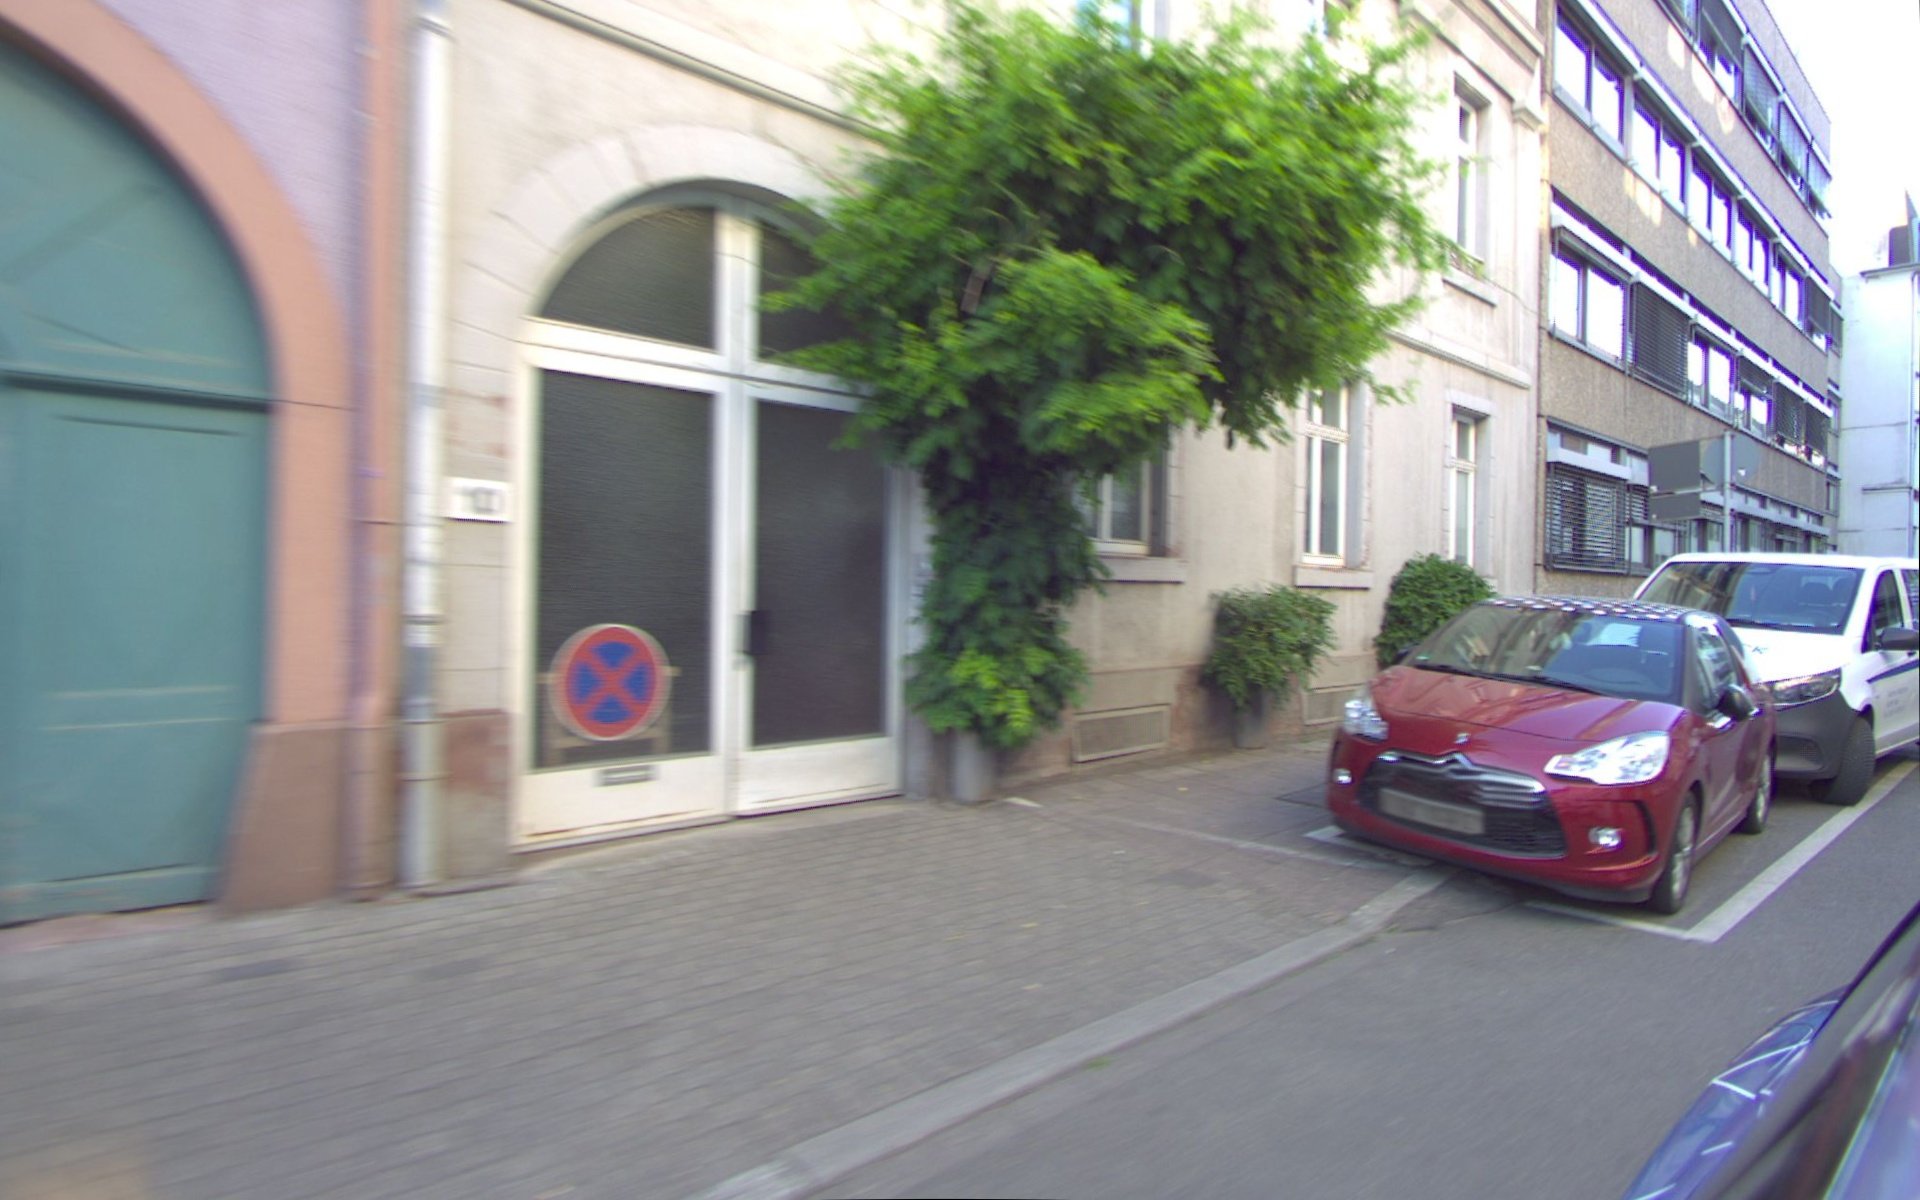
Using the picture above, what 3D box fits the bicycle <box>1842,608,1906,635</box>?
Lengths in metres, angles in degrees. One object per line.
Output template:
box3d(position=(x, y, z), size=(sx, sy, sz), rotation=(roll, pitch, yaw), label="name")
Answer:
box3d(position=(33.448, 0.782, 37.048), size=(1.739, 0.934, 0.530), rotation=(0, 0, 43), label="bicycle")

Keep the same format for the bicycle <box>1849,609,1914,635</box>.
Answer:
box3d(position=(34.623, 0.829, 38.049), size=(1.794, 0.934, 0.509), rotation=(0, 0, 42), label="bicycle")

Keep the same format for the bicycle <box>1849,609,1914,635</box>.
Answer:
box3d(position=(35.008, 0.827, 38.461), size=(0.389, 0.934, 1.796), rotation=(0, 0, -44), label="bicycle")

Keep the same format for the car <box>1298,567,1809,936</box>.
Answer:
box3d(position=(3.714, 0.611, 6.051), size=(3.690, 1.524, 1.656), rotation=(0, 1, -43), label="car")

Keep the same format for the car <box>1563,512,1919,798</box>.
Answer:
box3d(position=(7.655, 0.359, 9.157), size=(5.178, 1.921, 1.942), rotation=(0, 1, -37), label="car")
